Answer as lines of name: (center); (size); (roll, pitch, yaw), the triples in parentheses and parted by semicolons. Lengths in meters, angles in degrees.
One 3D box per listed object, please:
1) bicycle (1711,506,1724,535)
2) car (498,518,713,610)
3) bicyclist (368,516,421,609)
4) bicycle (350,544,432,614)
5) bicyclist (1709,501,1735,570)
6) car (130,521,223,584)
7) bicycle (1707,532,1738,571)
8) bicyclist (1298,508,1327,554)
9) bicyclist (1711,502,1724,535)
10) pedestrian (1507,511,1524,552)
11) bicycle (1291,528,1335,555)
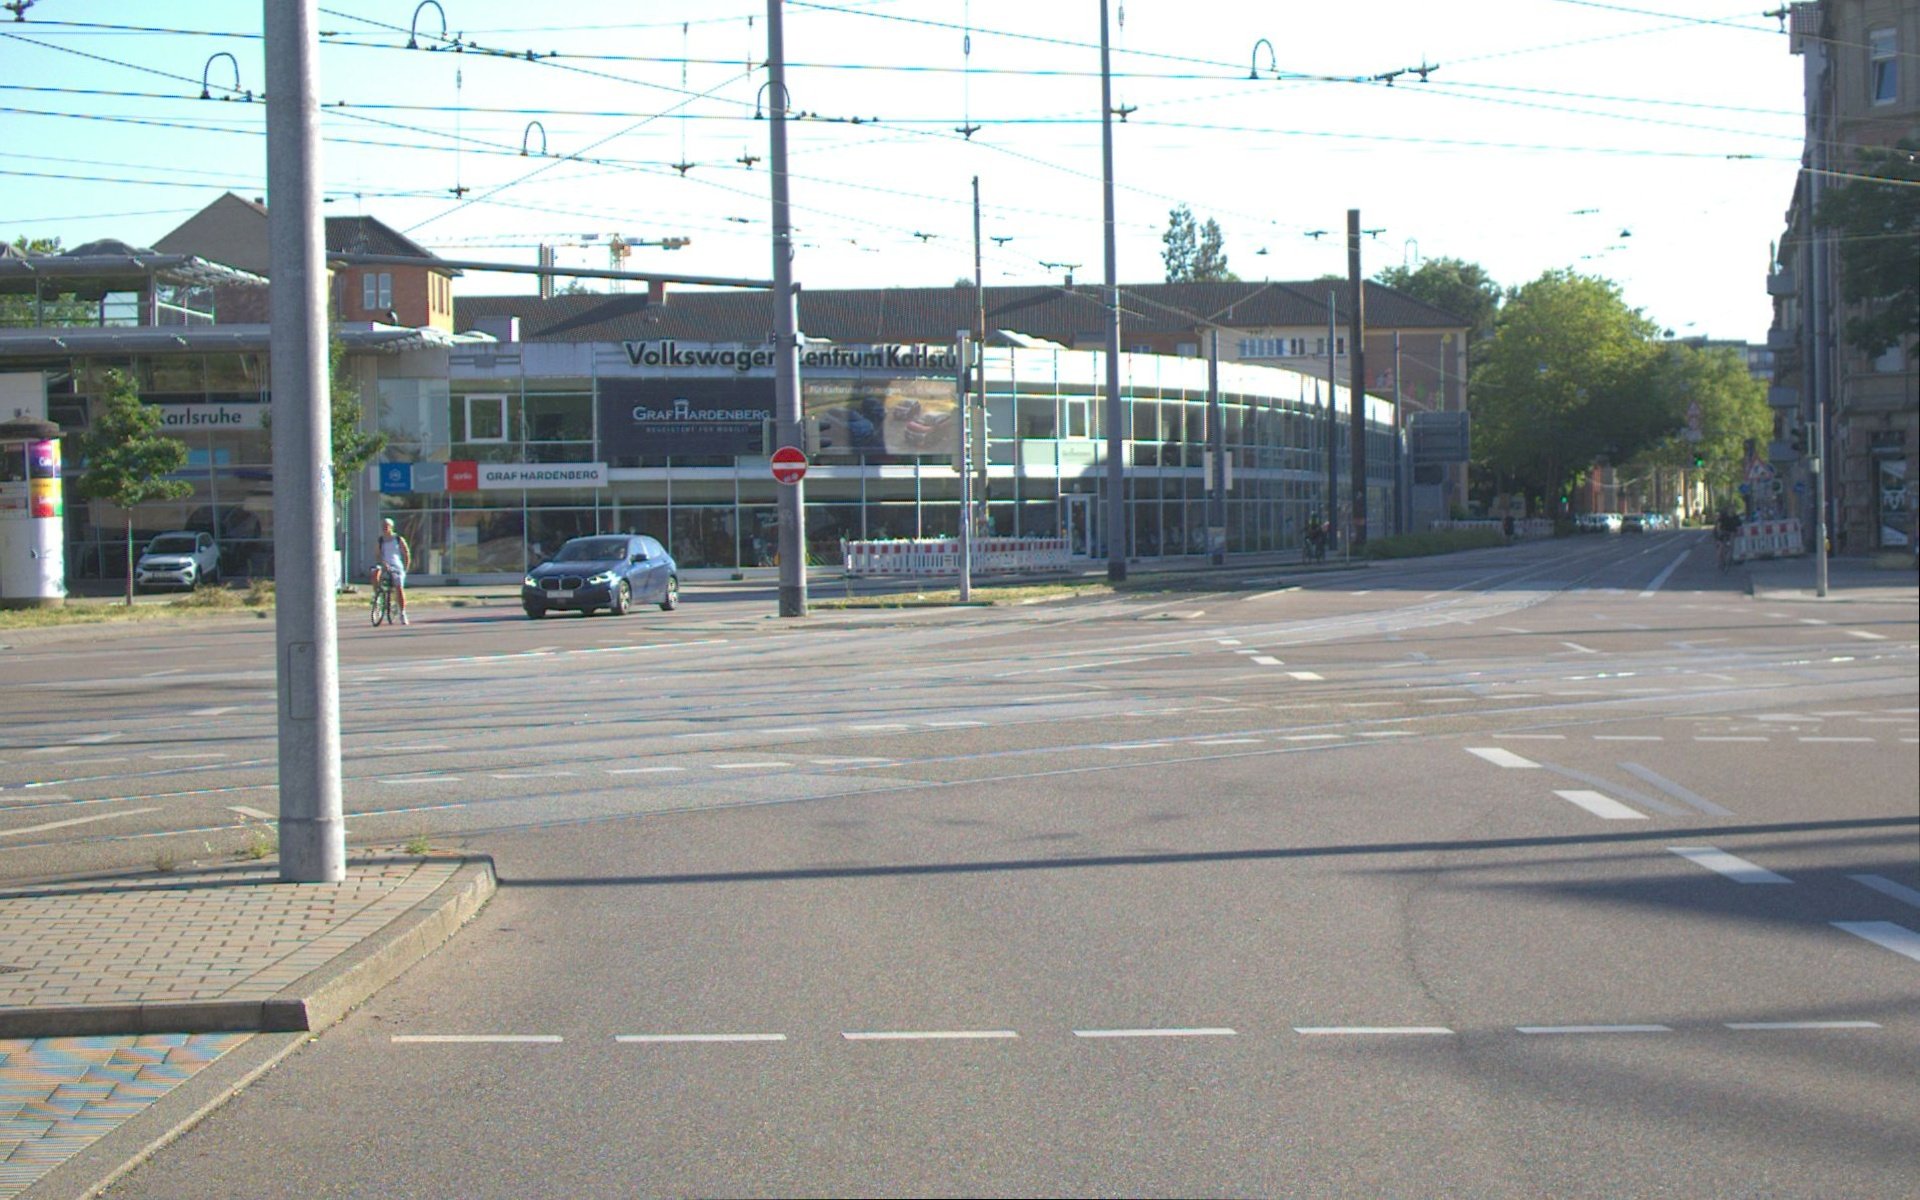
bicycle: (25.833, -2.707, 117.276); (0.410, 0.938, 1.844); (1, 1, 12)
car: (-6.323, -0.636, 61.755); (1.996, 1.579, 3.994); (1, 1, 27)
bicyclist: (-9.828, -0.653, 59.751); (0.598, 1.610, 0.822); (1, 0, 16)
bicycle: (-9.863, -0.366, 59.660); (0.613, 1.185, 1.867); (1, 1, 17)
bicyclist: (18.758, -1.587, 84.602); (0.518, 1.695, 0.516); (1, 0, 3)
car: (-22.609, -1.361, 99.367); (1.993, 1.744, 4.001); (1, 1, -4)
bicycle: (18.747, -1.192, 84.563); (0.657, 0.949, 1.599); (1, 1, 10)
bicyclist: (12.035, -2.363, 117.516); (0.655, 1.567, 0.921); (1, 0, 29)
bicyclist: (25.827, -2.788, 117.228); (0.408, 1.112, 0.399); (1, 0, 11)
pedestrian: (27.397, -3.353, 169.474); (0.716, 2.007, 0.758); (1, 0, 1)
bicycle: (12.090, -1.999, 117.595); (0.639, 0.867, 2.231); (1, 1, 29)
